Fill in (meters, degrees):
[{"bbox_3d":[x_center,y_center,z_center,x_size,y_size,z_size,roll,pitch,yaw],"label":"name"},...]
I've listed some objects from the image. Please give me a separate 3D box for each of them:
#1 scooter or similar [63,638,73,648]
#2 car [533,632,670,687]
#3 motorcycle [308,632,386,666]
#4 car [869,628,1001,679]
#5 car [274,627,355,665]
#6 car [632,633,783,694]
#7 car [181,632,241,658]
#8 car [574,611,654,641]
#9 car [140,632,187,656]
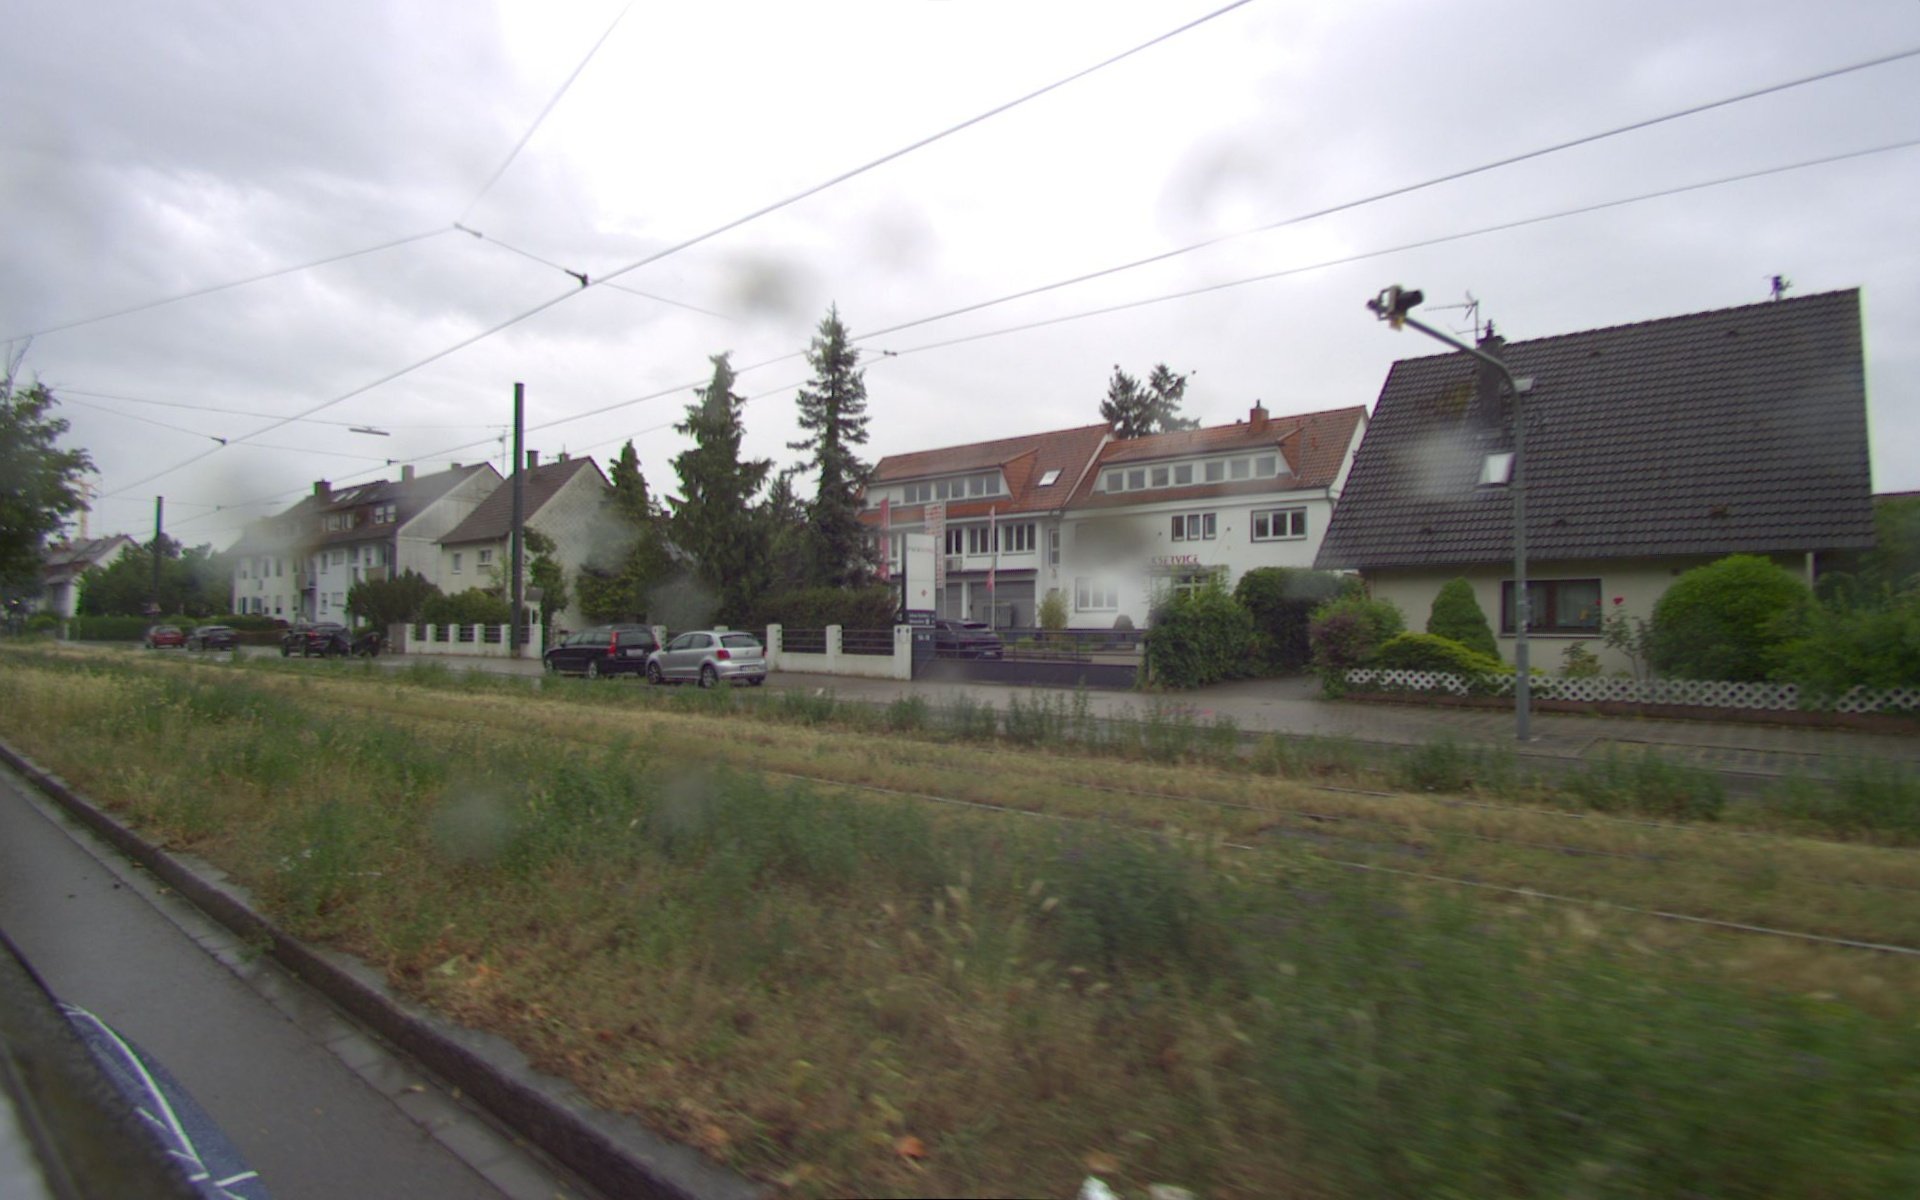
[{"bbox_3d":[-81.947,3.959,92.965,1.256,0.917,0.343,-1,-3,35],"label":"scooter or similar"},{"bbox_3d":[-10.777,1.716,30.259,4.530,1.467,1.972,-2,-1,43],"label":"car"},{"bbox_3d":[-26.857,2.150,44.414,2.645,1.421,1.269,0,0,-7],"label":"motorcycle"},{"bbox_3d":[-0.822,1.626,31.409,3.969,1.421,1.681,-2,-1,41],"label":"car"},{"bbox_3d":[-30.561,2.127,47.867,4.383,1.687,1.974,-1,-2,39],"label":"car"},{"bbox_3d":[-6.757,1.638,26.903,3.969,1.421,1.973,-2,-1,41],"label":"car"},{"bbox_3d":[-43.488,2.594,58.719,4.761,1.421,1.972,-2,-1,43],"label":"car"},{"bbox_3d":[-19.333,1.426,56.591,1.703,1.551,3.918,-2,-1,40],"label":"car"},{"bbox_3d":[-51.969,2.874,66.028,3.999,1.468,1.778,-2,-1,43],"label":"car"}]
